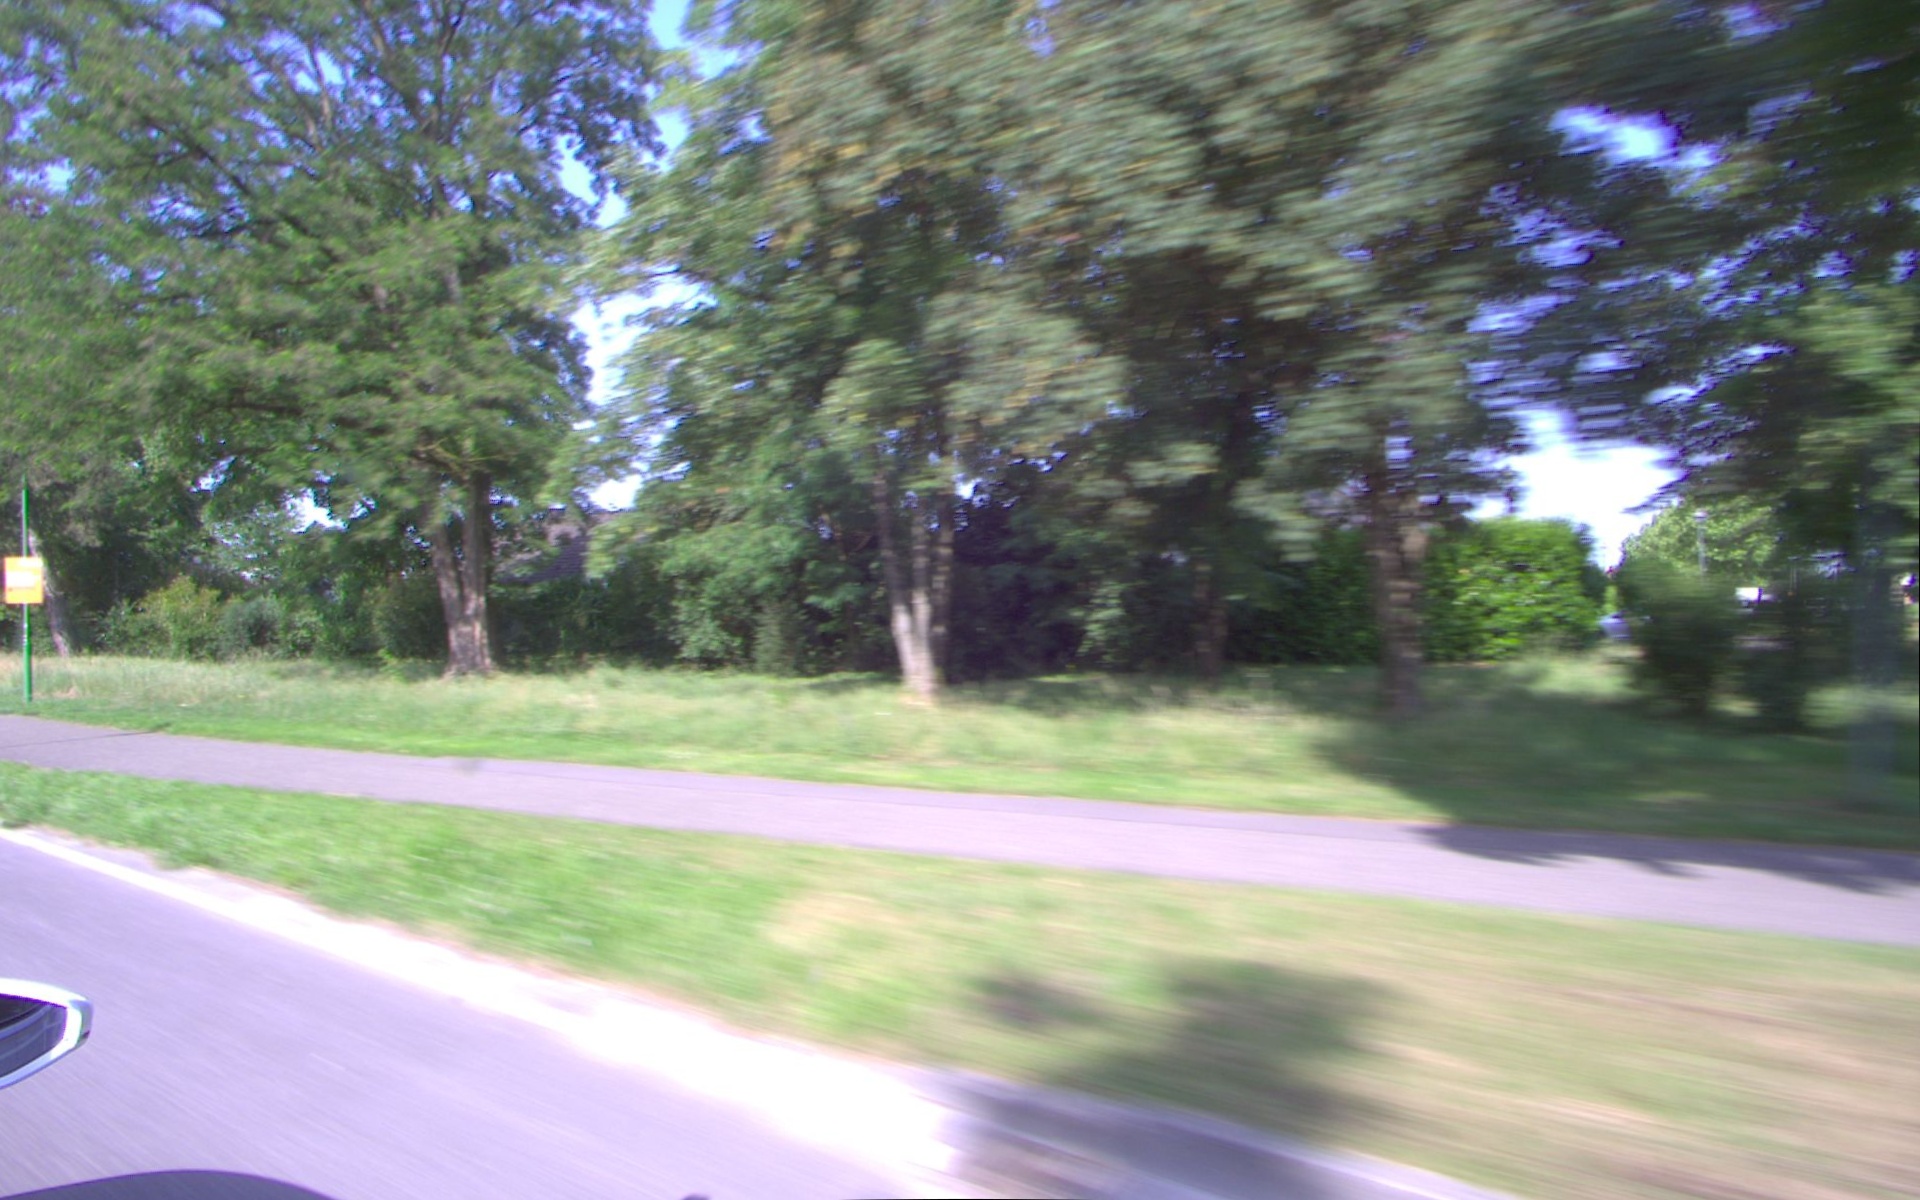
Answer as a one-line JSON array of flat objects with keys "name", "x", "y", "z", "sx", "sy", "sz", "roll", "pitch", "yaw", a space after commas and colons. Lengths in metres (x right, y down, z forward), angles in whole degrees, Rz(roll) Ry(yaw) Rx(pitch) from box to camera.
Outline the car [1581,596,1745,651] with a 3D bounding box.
[{"name": "car", "x": 22.400, "y": 0.741, "z": 32.003, "sx": 1.858, "sy": 1.644, "sz": 4.033, "roll": 0, "pitch": -1, "yaw": -43}]
